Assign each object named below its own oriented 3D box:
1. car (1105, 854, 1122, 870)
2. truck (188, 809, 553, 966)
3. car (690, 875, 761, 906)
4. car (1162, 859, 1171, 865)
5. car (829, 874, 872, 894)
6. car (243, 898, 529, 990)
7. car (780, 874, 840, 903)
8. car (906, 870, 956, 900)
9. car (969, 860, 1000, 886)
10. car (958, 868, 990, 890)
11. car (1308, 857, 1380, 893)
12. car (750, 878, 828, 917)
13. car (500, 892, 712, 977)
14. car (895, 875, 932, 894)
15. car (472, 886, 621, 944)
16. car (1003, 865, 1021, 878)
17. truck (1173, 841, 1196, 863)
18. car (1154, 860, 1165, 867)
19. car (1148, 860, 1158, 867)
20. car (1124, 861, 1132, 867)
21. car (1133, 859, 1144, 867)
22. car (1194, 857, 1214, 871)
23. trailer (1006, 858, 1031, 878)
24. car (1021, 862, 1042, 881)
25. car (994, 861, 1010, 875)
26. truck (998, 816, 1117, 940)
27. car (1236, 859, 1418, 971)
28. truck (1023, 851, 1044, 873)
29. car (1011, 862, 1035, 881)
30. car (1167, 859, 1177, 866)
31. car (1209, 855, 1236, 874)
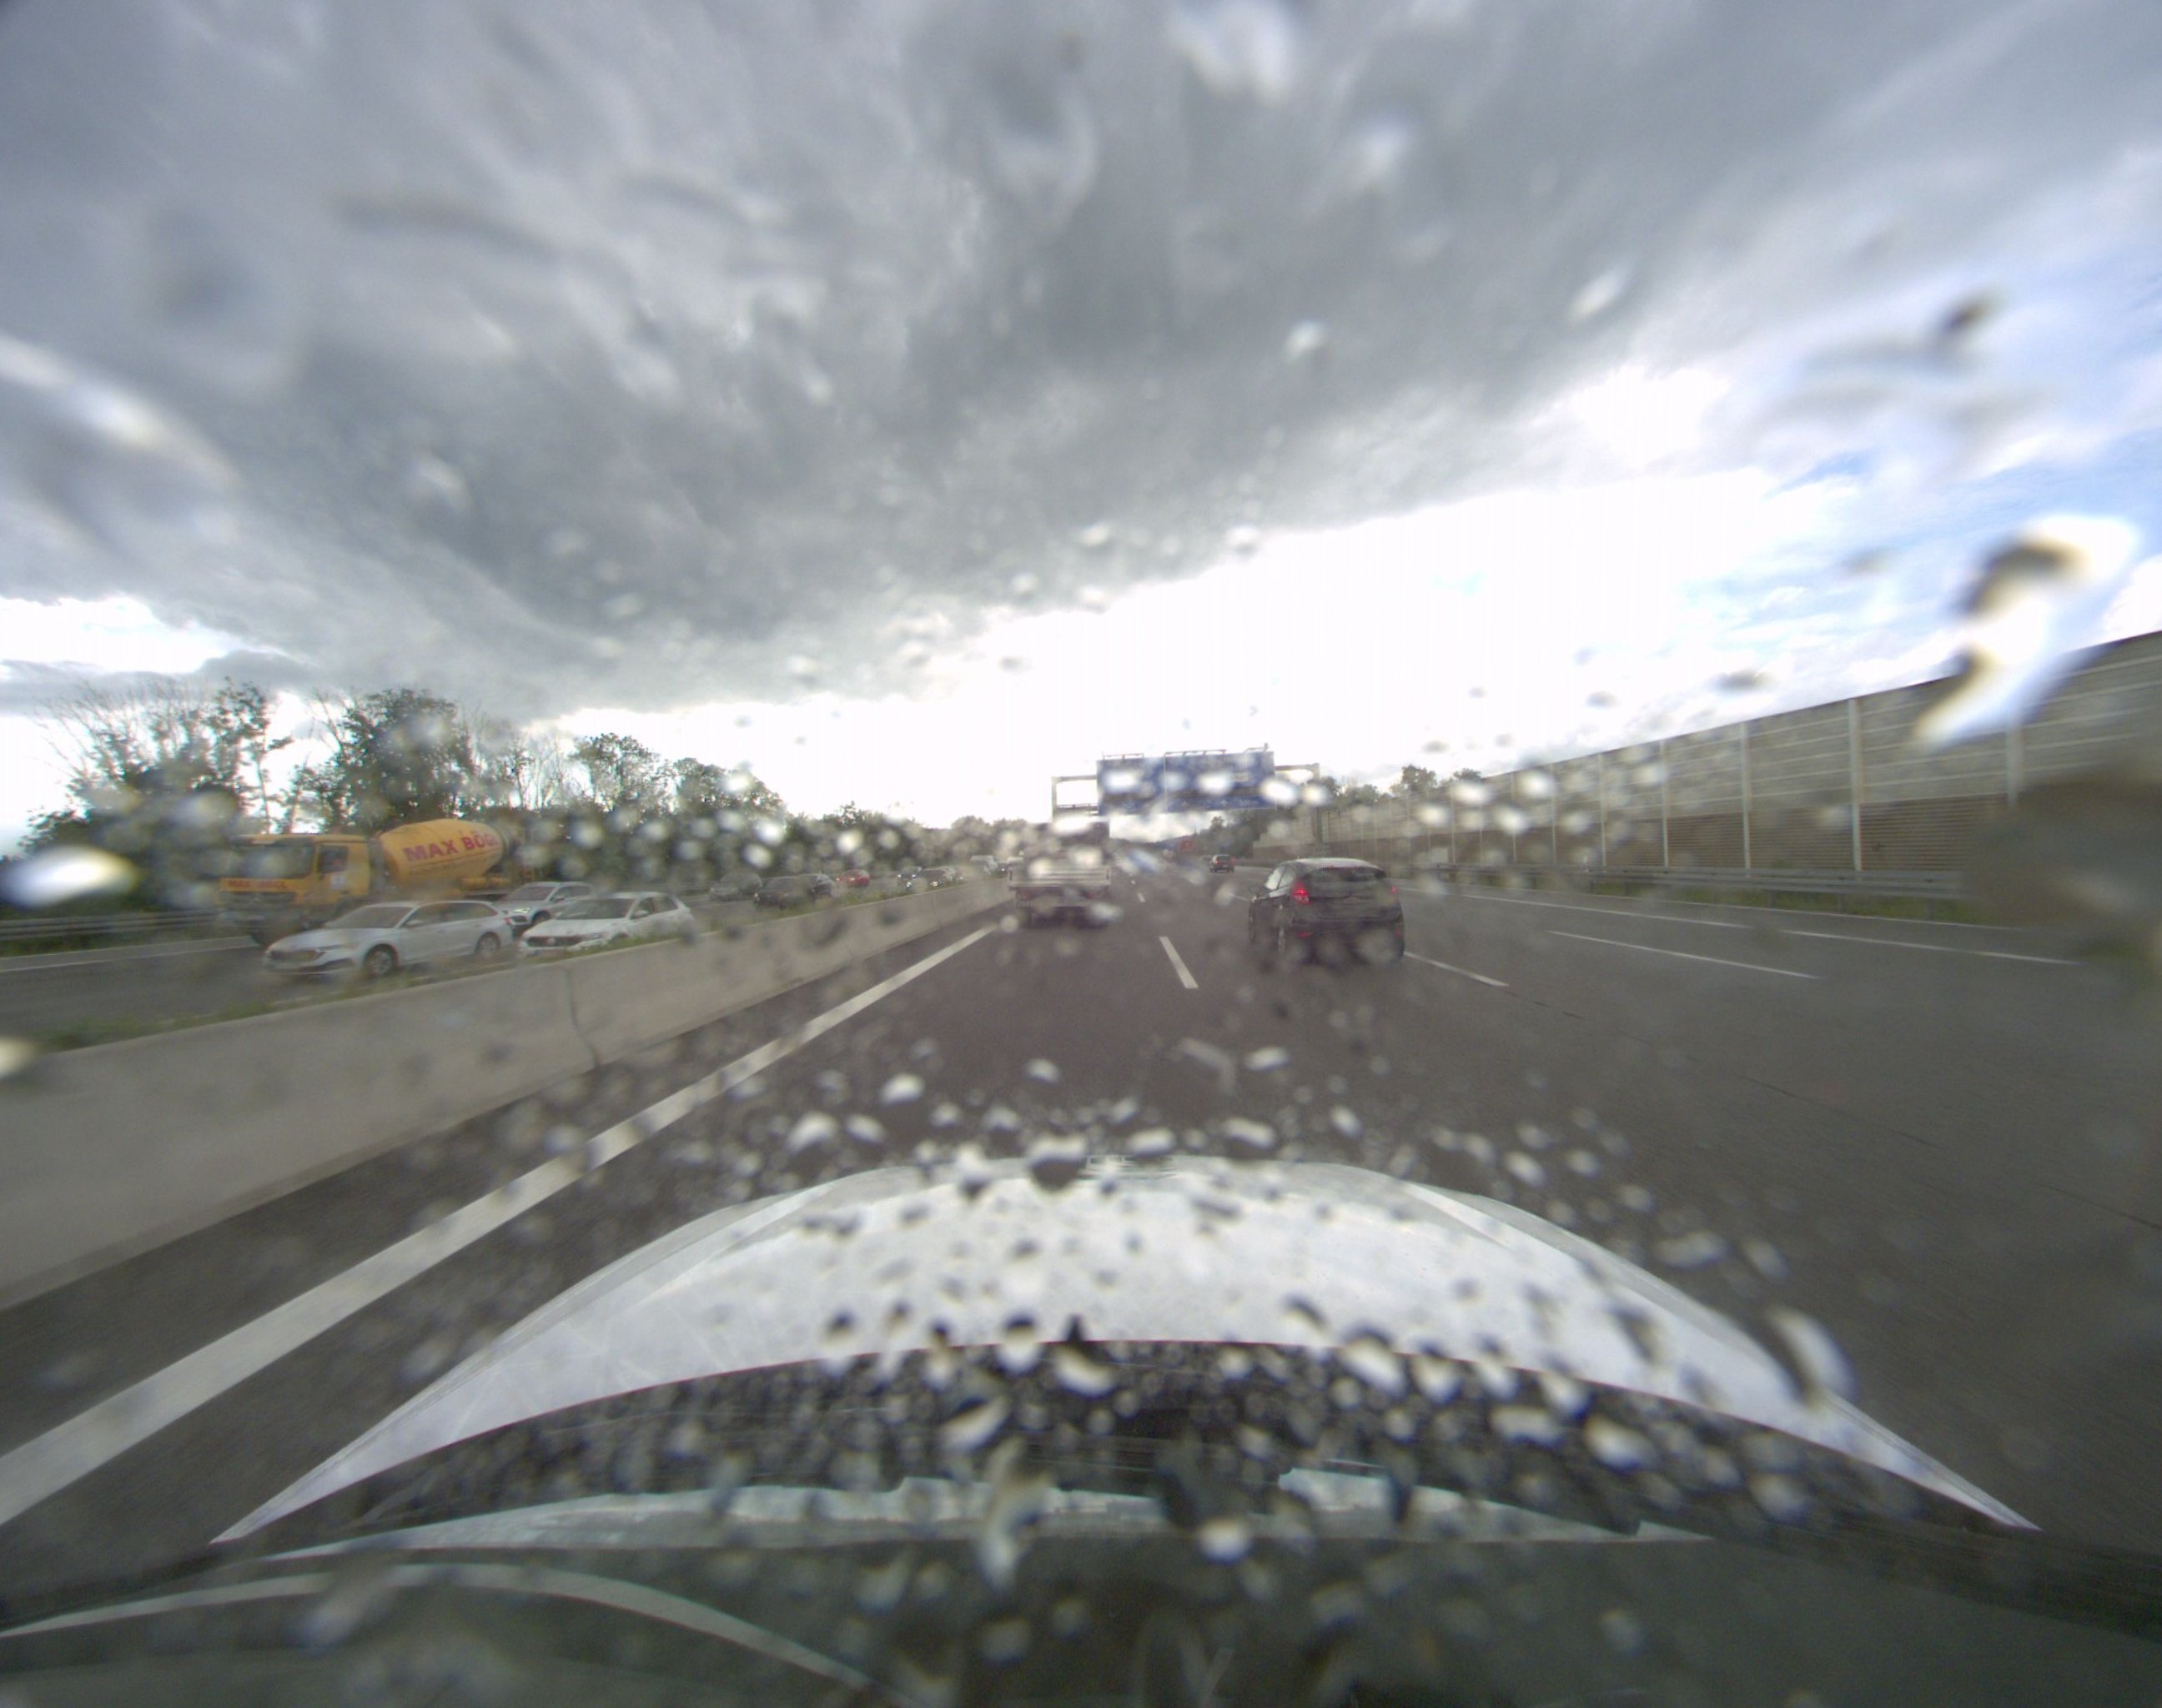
[{"bbox_3d":[3.595,0.883,90.041,1.710,1.624,4.281,-1,1,2],"label":"car"},{"bbox_3d":[-21.605,0.901,25.971,2.903,4.014,9.588,-1,0,2],"label":"truck"},{"bbox_3d":[-20.340,2.041,46.858,1.716,1.603,4.916,0,-1,3],"label":"car"},{"bbox_3d":[23.353,2.062,222.438,1.961,1.561,4.433,-2,-1,0],"label":"car"},{"bbox_3d":[-19.319,2.483,68.587,1.974,1.494,4.916,-2,-1,3],"label":"car"},{"bbox_3d":[-14.330,1.763,17.286,1.716,1.470,4.852,0,-1,3],"label":"car"},{"bbox_3d":[-16.027,2.018,48.488,1.716,1.603,4.916,0,-1,3],"label":"car"},{"bbox_3d":[-8.599,1.740,47.098,1.716,1.603,4.916,0,-1,3],"label":"car"},{"bbox_3d":[-10.565,2.021,89.447,2.040,2.653,7.741,-2,-1,3],"label":"car"},{"bbox_3d":[-8.188,1.894,62.638,1.716,1.603,4.915,0,-1,2],"label":"car"},{"bbox_3d":[11.520,0.892,35.940,1.942,1.418,4.235,-2,-1,3],"label":"car"},{"bbox_3d":[-13.368,1.969,37.599,1.716,1.603,4.647,0,-1,3],"label":"car"},{"bbox_3d":[-9.963,1.618,17.591,1.716,1.428,4.651,0,-1,2],"label":"car"},{"bbox_3d":[-14.945,2.664,72.853,1.974,1.494,4.916,-2,-1,3],"label":"car"},{"bbox_3d":[-17.414,1.927,26.838,1.716,1.603,4.522,0,-1,3],"label":"car"},{"bbox_3d":[-9.138,2.254,107.976,1.810,1.678,4.482,0,-1,4],"label":"car"},{"bbox_3d":[18.067,-0.328,142.774,3.139,3.601,12.711,0,0,3],"label":"truck"},{"bbox_3d":[16.643,1.999,173.512,1.961,1.561,4.433,-2,-1,0],"label":"car"},{"bbox_3d":[17.400,2.329,196.189,1.962,1.561,4.431,-2,-1,-1],"label":"car"},{"bbox_3d":[12.555,2.675,218.749,1.961,1.561,4.433,-2,-1,1],"label":"car"},{"bbox_3d":[11.827,1.761,167.345,1.961,1.561,4.433,-2,-1,1],"label":"car"},{"bbox_3d":[15.259,1.252,101.297,1.876,1.561,4.433,-2,-1,1],"label":"car"},{"bbox_3d":[-8.720,1.900,113.922,2.331,2.653,7.190,-2,-1,4],"label":"trailer"},{"bbox_3d":[-5.788,2.001,96.024,1.811,2.078,5.379,-2,-1,3],"label":"car"},{"bbox_3d":[-12.209,2.229,126.578,1.811,2.078,4.481,-1,0,3],"label":"car"},{"bbox_3d":[-0.315,0.452,19.786,2.297,2.439,7.153,-1,0,3],"label":"truck"},{"bbox_3d":[3.604,0.811,12.723,1.710,1.417,4.281,-1,-1,3],"label":"car"},{"bbox_3d":[-9.724,1.664,168.486,2.786,4.112,12.305,-2,-1,3],"label":"truck"},{"bbox_3d":[-6.120,1.865,86.385,1.811,1.904,5.428,-2,-1,3],"label":"car"},{"bbox_3d":[22.147,2.150,198.807,1.961,1.561,4.433,-2,-1,0],"label":"car"},{"bbox_3d":[12.740,0.932,73.428,1.874,1.542,4.437,-2,-1,4],"label":"car"}]
